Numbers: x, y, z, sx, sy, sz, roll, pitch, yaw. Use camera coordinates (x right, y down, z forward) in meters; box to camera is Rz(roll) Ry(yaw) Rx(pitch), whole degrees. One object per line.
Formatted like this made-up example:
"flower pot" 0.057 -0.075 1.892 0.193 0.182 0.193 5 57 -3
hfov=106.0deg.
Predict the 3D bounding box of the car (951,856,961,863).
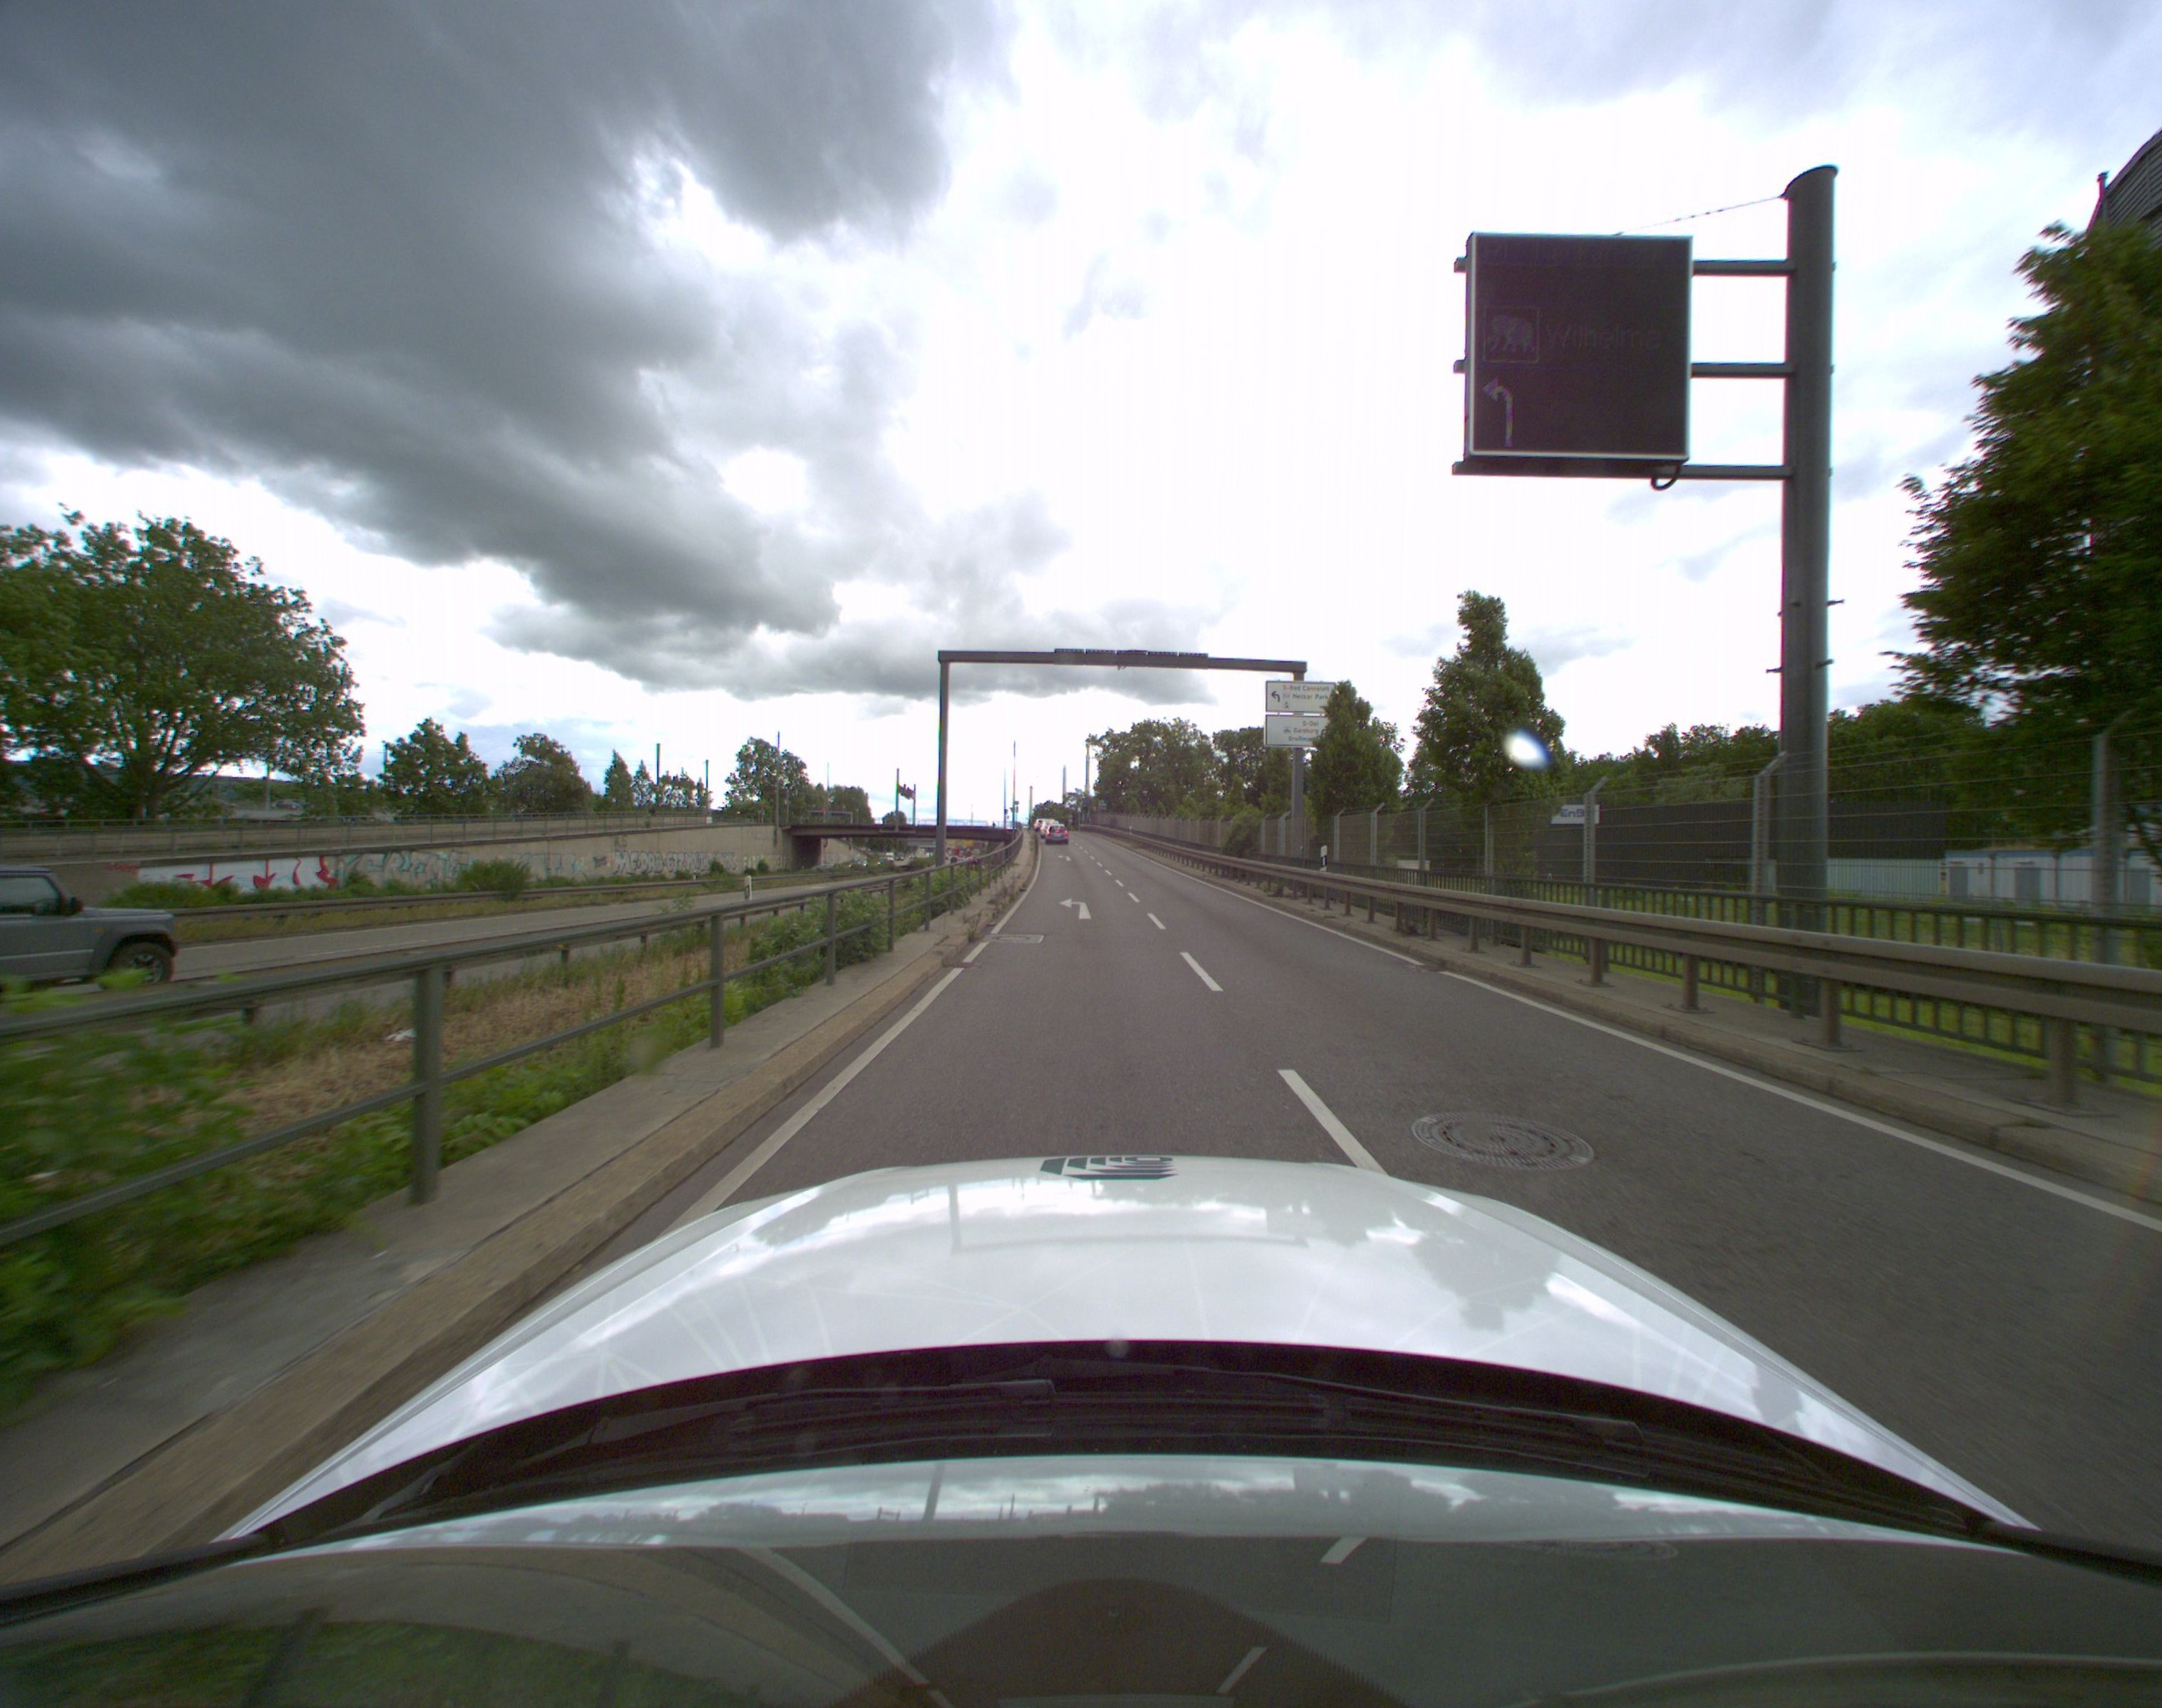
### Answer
"car" -31.003 1.286 201.795 1.987 1.684 3.999 1 1 -1

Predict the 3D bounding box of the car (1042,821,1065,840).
"car" -2.622 -2.235 76.288 1.989 1.602 3.996 -1 4 -4

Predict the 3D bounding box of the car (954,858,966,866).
"car" -26.164 1.680 176.678 1.987 1.684 3.999 1 1 -1

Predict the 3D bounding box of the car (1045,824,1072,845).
"car" -1.753 -1.530 64.926 1.742 1.580 4.088 1 0 3

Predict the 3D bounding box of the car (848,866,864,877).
"car" -36.886 2.826 133.722 1.994 1.720 4.687 -1 -1 -10

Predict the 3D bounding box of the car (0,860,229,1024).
"car" -12.393 0.958 9.079 1.677 1.736 3.994 -1 0 -3

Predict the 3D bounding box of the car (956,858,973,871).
"car" -14.311 1.318 100.519 1.992 1.420 3.990 1 1 -7
